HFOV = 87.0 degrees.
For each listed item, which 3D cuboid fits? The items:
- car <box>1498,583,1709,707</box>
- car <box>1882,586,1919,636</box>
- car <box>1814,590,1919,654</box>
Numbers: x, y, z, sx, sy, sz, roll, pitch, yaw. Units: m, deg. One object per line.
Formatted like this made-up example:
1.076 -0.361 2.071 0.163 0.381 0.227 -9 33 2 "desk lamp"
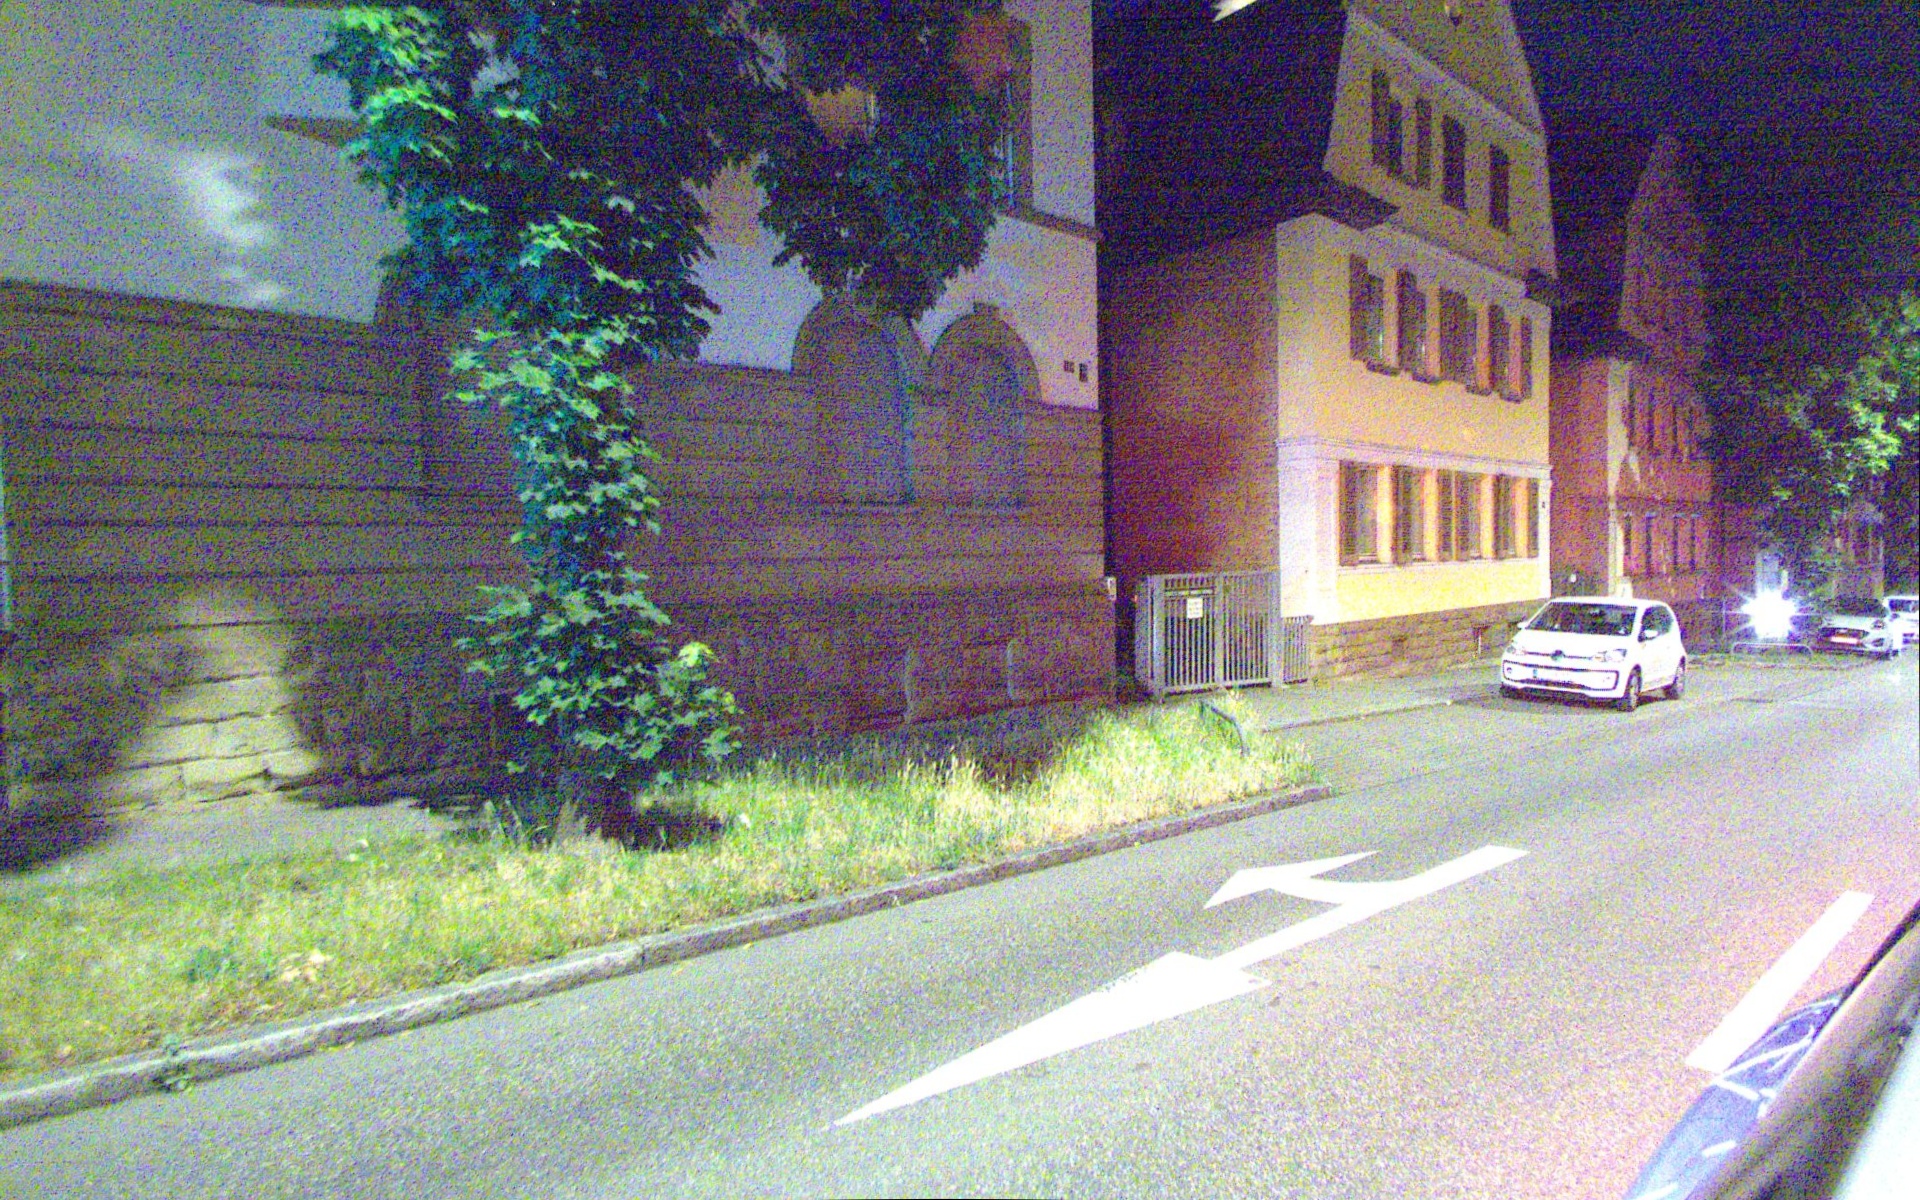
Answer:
9.278 0.558 14.509 3.425 1.527 1.610 0 2 -41 "car"
33.546 0.369 35.140 4.107 1.673 1.850 0 0 -42 "car"
23.622 0.509 26.283 3.824 1.516 1.740 0 2 -43 "car"
